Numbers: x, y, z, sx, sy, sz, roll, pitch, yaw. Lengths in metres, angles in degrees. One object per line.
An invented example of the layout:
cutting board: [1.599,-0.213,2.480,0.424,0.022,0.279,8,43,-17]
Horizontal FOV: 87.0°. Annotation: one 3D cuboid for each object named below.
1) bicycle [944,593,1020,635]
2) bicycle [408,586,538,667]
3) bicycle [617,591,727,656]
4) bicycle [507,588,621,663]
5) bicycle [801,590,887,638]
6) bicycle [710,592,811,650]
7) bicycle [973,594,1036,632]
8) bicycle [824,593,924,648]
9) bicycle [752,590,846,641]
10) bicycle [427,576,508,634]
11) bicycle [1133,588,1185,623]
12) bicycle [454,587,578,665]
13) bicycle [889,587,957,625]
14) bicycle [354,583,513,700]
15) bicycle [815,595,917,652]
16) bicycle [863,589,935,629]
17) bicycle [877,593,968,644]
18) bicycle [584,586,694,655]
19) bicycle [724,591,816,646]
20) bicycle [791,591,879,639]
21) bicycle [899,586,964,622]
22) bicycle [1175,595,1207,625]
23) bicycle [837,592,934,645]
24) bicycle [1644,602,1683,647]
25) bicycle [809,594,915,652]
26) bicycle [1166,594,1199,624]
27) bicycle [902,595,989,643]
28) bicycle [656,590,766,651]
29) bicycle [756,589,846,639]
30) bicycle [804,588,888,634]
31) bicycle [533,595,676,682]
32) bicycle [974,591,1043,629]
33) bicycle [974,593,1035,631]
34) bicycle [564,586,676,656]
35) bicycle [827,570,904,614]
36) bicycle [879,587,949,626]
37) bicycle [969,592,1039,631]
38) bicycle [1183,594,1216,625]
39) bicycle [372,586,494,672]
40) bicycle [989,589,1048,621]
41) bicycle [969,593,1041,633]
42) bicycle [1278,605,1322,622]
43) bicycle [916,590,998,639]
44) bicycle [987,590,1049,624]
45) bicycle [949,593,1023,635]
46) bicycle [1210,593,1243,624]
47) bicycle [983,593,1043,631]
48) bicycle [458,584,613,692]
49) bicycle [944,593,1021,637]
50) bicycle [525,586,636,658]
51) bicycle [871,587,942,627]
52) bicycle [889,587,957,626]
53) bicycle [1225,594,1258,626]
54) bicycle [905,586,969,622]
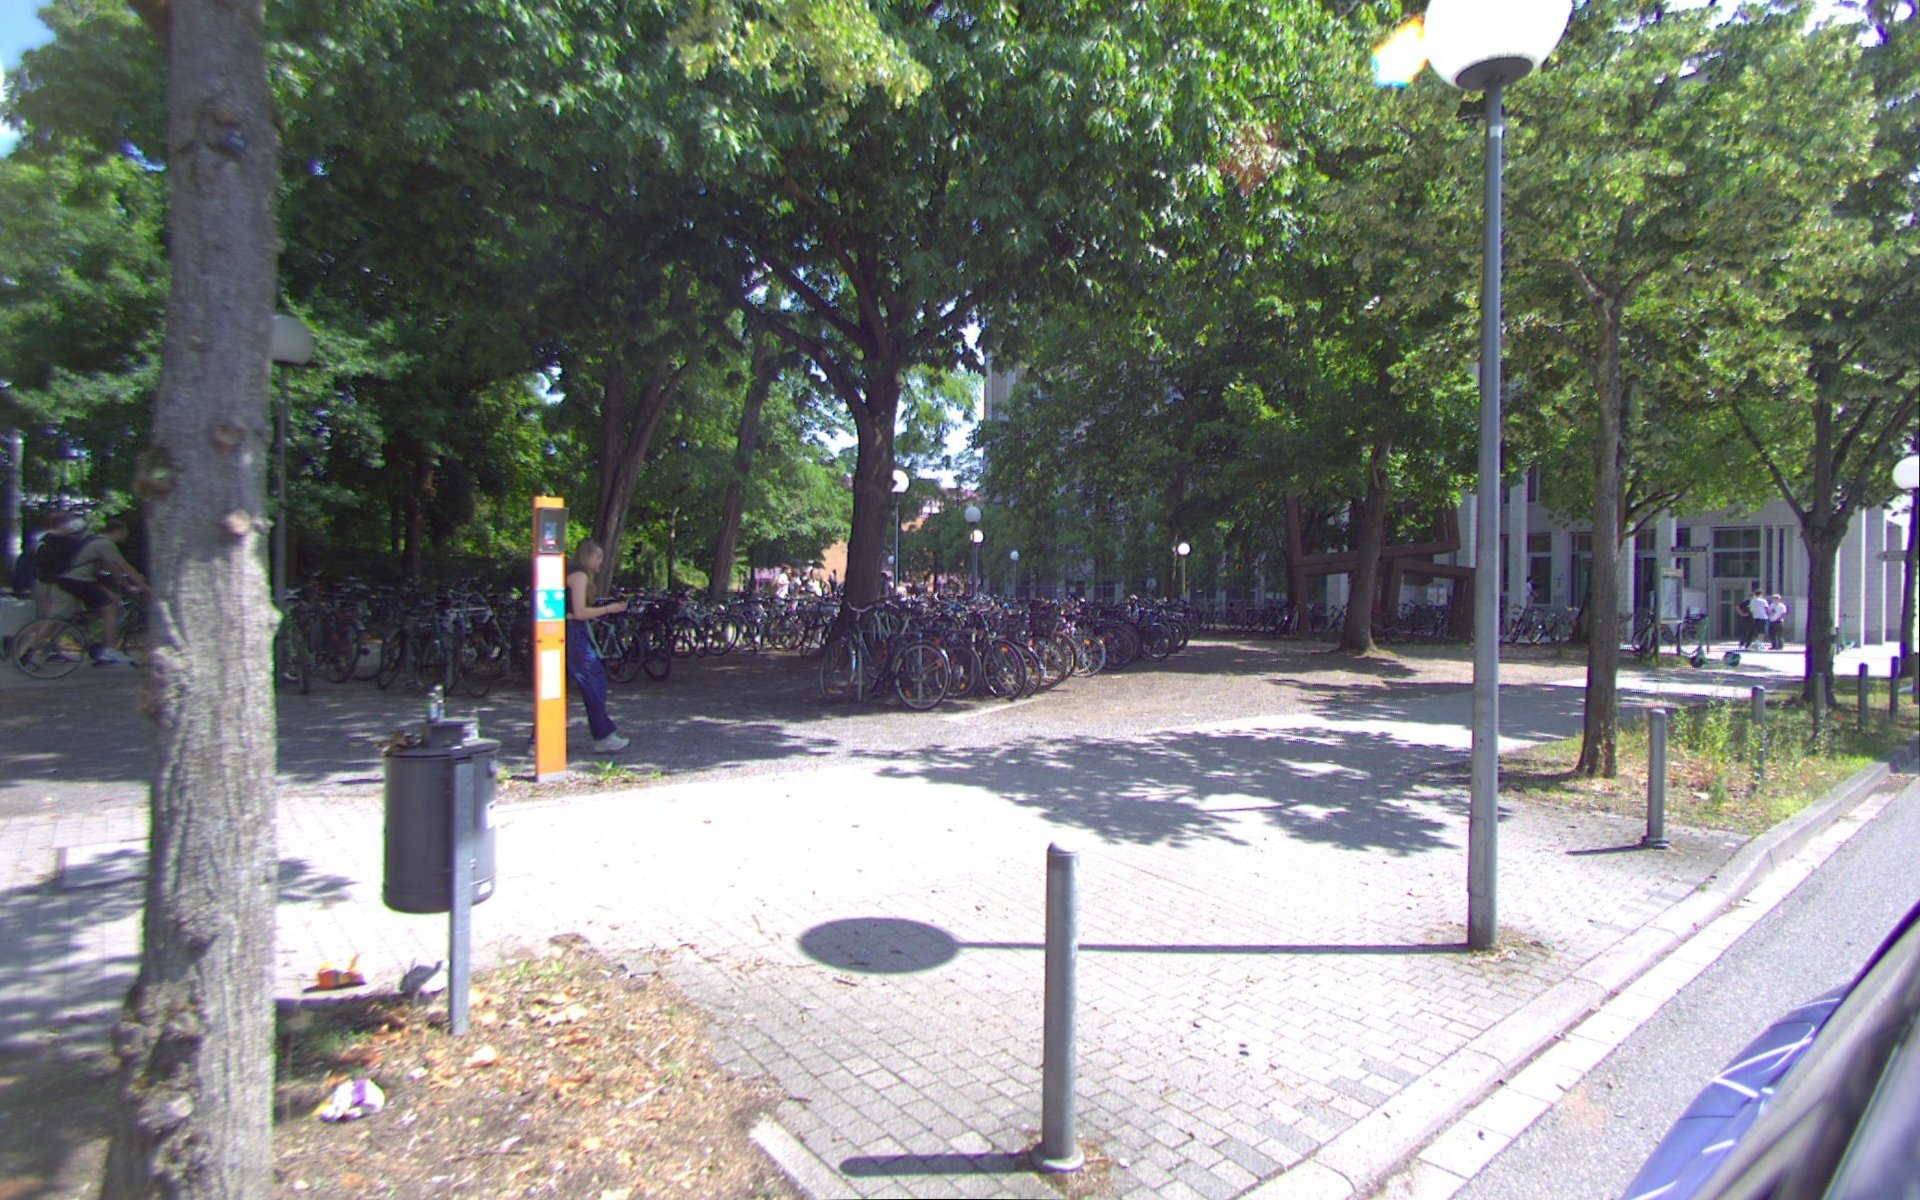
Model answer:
bicycle: [0.548,0.345,25.614,1.880,0.991,0.376,2,1,20]
bicycle: [-6.608,0.339,13.704,1.881,0.991,0.418,2,1,22]
bicycle: [-4.871,0.368,17.096,1.886,0.991,0.607,2,1,28]
bicycle: [-5.801,0.345,14.784,1.886,0.991,0.417,2,1,28]
bicycle: [-2.607,0.302,22.670,1.873,0.991,0.377,2,1,11]
bicycle: [-3.761,0.378,19.076,1.880,0.991,0.475,2,1,20]
bicycle: [1.278,0.362,28.958,1.714,1.035,0.477,2,1,9]
bicycle: [-1.675,0.384,19.799,1.872,0.991,0.477,2,1,9]
bicycle: [-3.374,0.310,21.175,1.873,0.991,0.477,2,1,11]
bicycle: [-10.000,0.083,20.529,1.734,1.107,0.475,2,1,24]
bicycle: [7.155,0.189,36.387,1.816,1.185,0.412,1,0,11]
bicycle: [-6.264,0.338,14.255,1.884,0.991,0.474,2,1,25]
bicycle: [-1.042,0.159,28.622,1.880,0.991,0.475,2,1,20]
bicycle: [-5.689,0.408,10.912,1.792,1.132,0.607,2,1,28]
bicycle: [-1.778,0.440,19.195,1.868,0.991,0.478,2,1,1]
bicycle: [-1.599,0.224,26.593,1.880,0.991,0.376,2,1,20]
bicycle: [-0.798,0.374,21.491,1.880,0.991,0.475,2,1,20]
bicycle: [-5.128,0.302,16.132,1.885,0.991,0.474,2,1,27]
bicycle: [-3.787,0.346,20.121,1.885,0.991,0.438,2,1,26]
bicycle: [-2.745,0.322,22.277,1.873,0.991,0.377,2,1,11]
bicycle: [-0.838,0.103,29.788,1.880,0.991,0.376,2,1,20]
bicycle: [9.027,0.394,39.510,0.453,1.144,1.661,-2,-3,44]
bicycle: [-1.487,0.359,20.302,1.872,0.991,0.477,2,1,8]
bicycle: [19.243,0.645,27.681,1.465,1.155,0.560,0,3,-44]
bicycle: [-1.790,0.411,18.619,1.868,0.991,0.478,2,1,1]
bicycle: [8.801,0.379,40.026,0.477,1.144,1.661,-2,-3,44]
bicycle: [-0.329,0.411,22.754,1.873,0.991,0.477,2,1,11]
bicycle: [-4.415,0.350,17.935,1.877,0.991,0.534,2,1,16]
bicycle: [-3.403,0.299,21.642,1.873,0.991,0.377,2,1,11]
bicycle: [-2.638,0.254,23.439,1.874,0.991,0.477,2,1,11]
bicycle: [-4.568,0.462,12.978,1.886,0.991,0.607,2,1,28]
bicycle: [1.346,0.265,28.200,1.868,0.991,0.378,2,1,2]
bicycle: [1.291,0.351,29.333,1.714,1.035,0.292,2,1,9]
bicycle: [-5.329,0.307,15.817,1.885,0.991,0.474,2,1,27]
bicycle: [-2.302,-0.208,24.647,1.880,0.991,0.376,2,1,20]
bicycle: [-1.265,0.165,27.685,1.880,0.991,0.376,2,1,20]
bicycle: [1.183,0.316,27.366,1.867,0.991,0.379,2,1,0]
bicycle: [9.244,0.372,39.011,0.453,1.144,1.661,-2,-3,44]
bicycle: [-6.838,0.349,13.091,1.888,0.991,0.473,2,1,31]
bicycle: [1.891,0.153,32.923,1.868,0.991,0.478,2,1,1]
bicycle: [1.193,0.335,26.916,1.867,0.991,0.379,2,1,0]
bicycle: [16.950,0.678,50.436,1.981,0.769,0.634,3,0,40]
bicycle: [-0.067,0.332,23.928,1.875,1.096,0.477,2,1,14]
bicycle: [1.830,0.202,31.691,1.874,0.991,0.477,2,1,12]
bicycle: [0.661,0.354,25.925,1.880,0.991,0.376,2,1,20]
bicycle: [10.067,0.344,38.251,0.453,1.144,1.661,-2,-3,44]
bicycle: [1.555,0.357,29.589,1.714,1.035,0.477,2,1,9]
bicycle: [-4.976,0.409,11.832,1.886,1.132,0.607,2,1,28]
bicycle: [0.553,0.365,25.171,1.880,0.991,0.376,2,1,20]
bicycle: [-5.741,0.313,15.272,1.886,0.991,0.417,2,1,28]
bicycle: [-1.425,0.184,27.024,1.880,0.991,0.376,2,1,20]
bicycle: [-1.026,0.169,28.030,1.880,0.991,0.376,2,1,20]
bicycle: [10.572,0.386,37.940,0.453,1.144,1.661,-2,-3,44]
bicycle: [-0.702,0.105,30.186,1.880,0.991,0.376,2,1,20]
